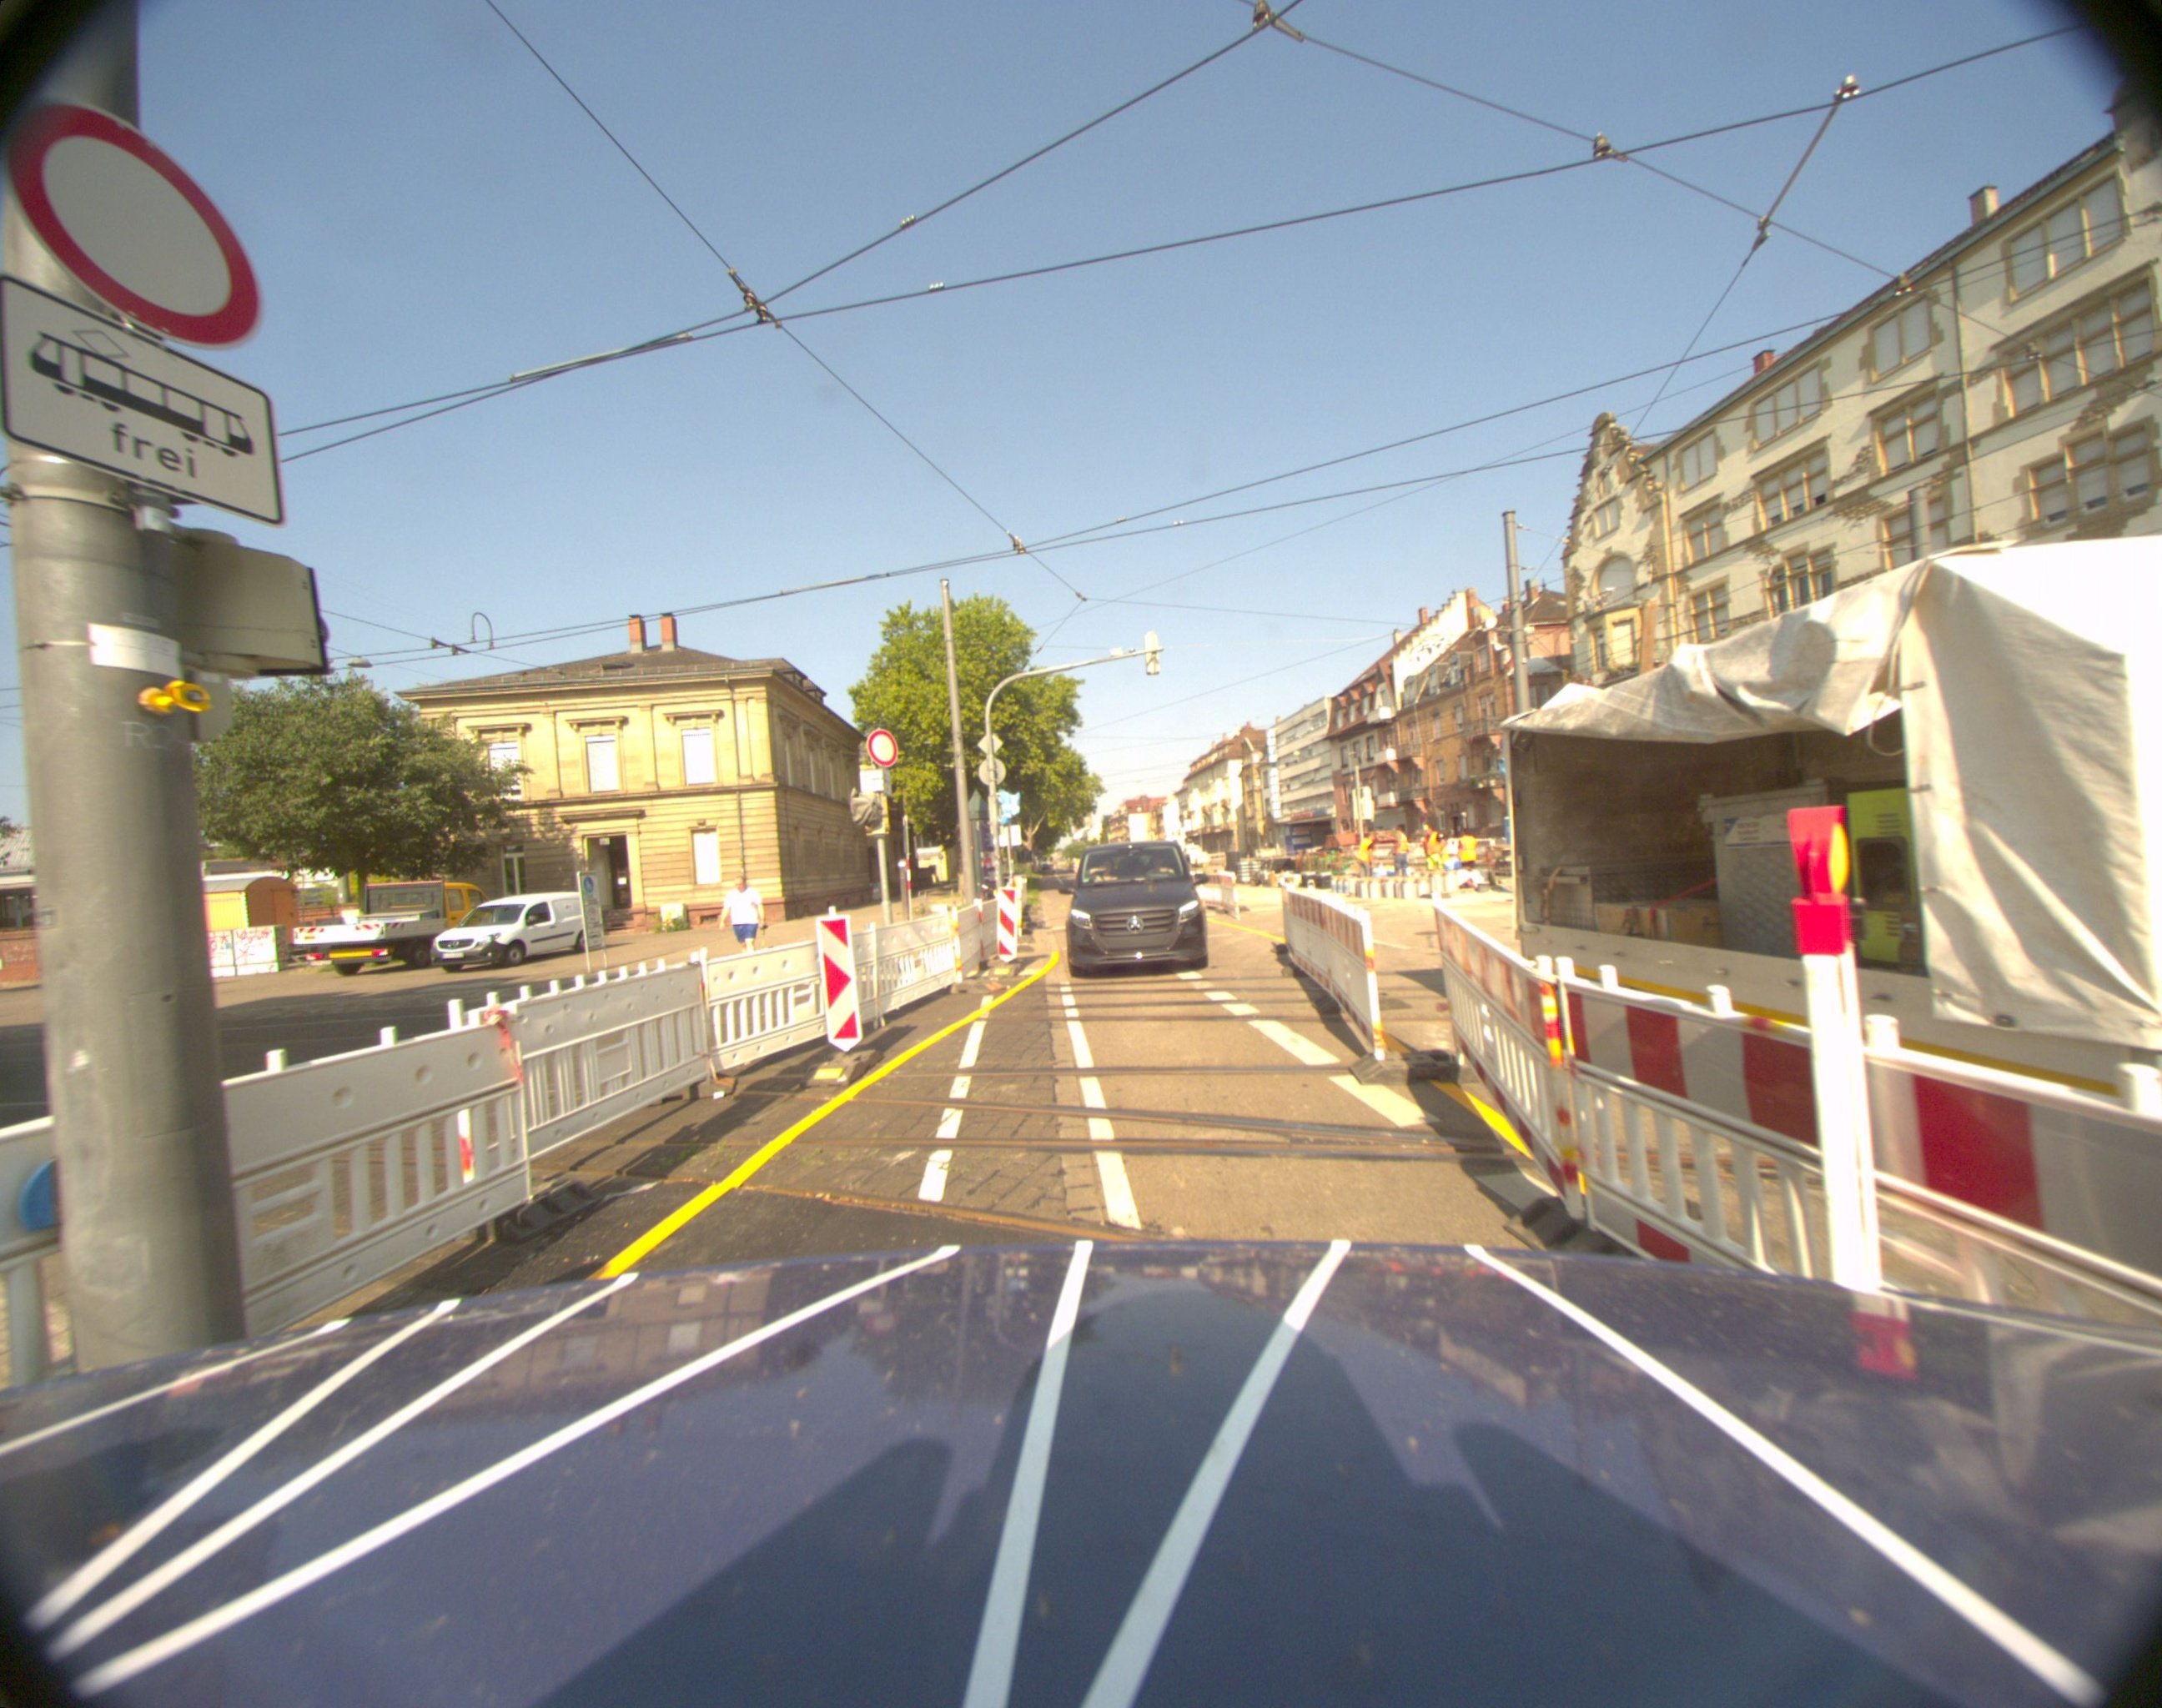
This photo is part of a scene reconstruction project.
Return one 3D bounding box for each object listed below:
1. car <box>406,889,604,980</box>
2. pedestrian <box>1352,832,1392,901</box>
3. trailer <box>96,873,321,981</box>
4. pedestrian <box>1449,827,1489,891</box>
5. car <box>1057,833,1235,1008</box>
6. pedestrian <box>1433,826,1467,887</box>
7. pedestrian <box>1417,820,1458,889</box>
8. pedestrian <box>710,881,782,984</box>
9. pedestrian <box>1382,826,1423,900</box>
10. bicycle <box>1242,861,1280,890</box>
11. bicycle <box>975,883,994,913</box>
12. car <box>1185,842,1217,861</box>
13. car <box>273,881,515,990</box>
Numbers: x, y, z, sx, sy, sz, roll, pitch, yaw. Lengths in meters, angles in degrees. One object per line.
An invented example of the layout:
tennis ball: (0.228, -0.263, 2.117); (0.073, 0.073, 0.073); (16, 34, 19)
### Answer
car: (-15.192, 2.028, 20.402); (1.908, 1.773, 4.224); (-4, 2, 1)
pedestrian: (8.340, 0.365, 21.767); (0.715, 1.915, 0.683); (-5, 1, -40)
trailer: (-29.102, 2.349, 25.559); (4.121, 3.030, 2.512); (-4, 1, -10)
pedestrian: (11.438, 0.152, 22.405); (0.752, 1.799, 0.831); (-4, 1, 42)
car: (0.711, 0.784, 11.051); (1.853, 1.875, 4.177); (-6, 0, -3)
pedestrian: (11.412, 0.069, 23.502); (0.828, 1.806, 0.886); (-4, 1, 26)
pedestrian: (9.876, 0.011, 21.081); (0.721, 1.860, 0.708); (-4, 1, 5)
pedestrian: (-5.998, 1.385, 13.656); (0.869, 1.727, 0.671); (-5, 1, -4)
pedestrian: (8.938, 0.260, 21.131); (0.698, 2.003, 0.672); (-5, 1, -40)
bicycle: (7.290, 0.864, 30.845); (0.564, 1.092, 1.965); (-6, 1, -13)
bicycle: (-3.584, 1.622, 28.332); (0.540, 1.000, 1.570); (-4, 0, -3)
car: (14.872, -0.278, 94.739); (2.367, 2.122, 7.119); (-5, 0, -3)
car: (-19.128, 2.115, 21.660); (2.265, 2.408, 5.485); (-5, 0, -8)
